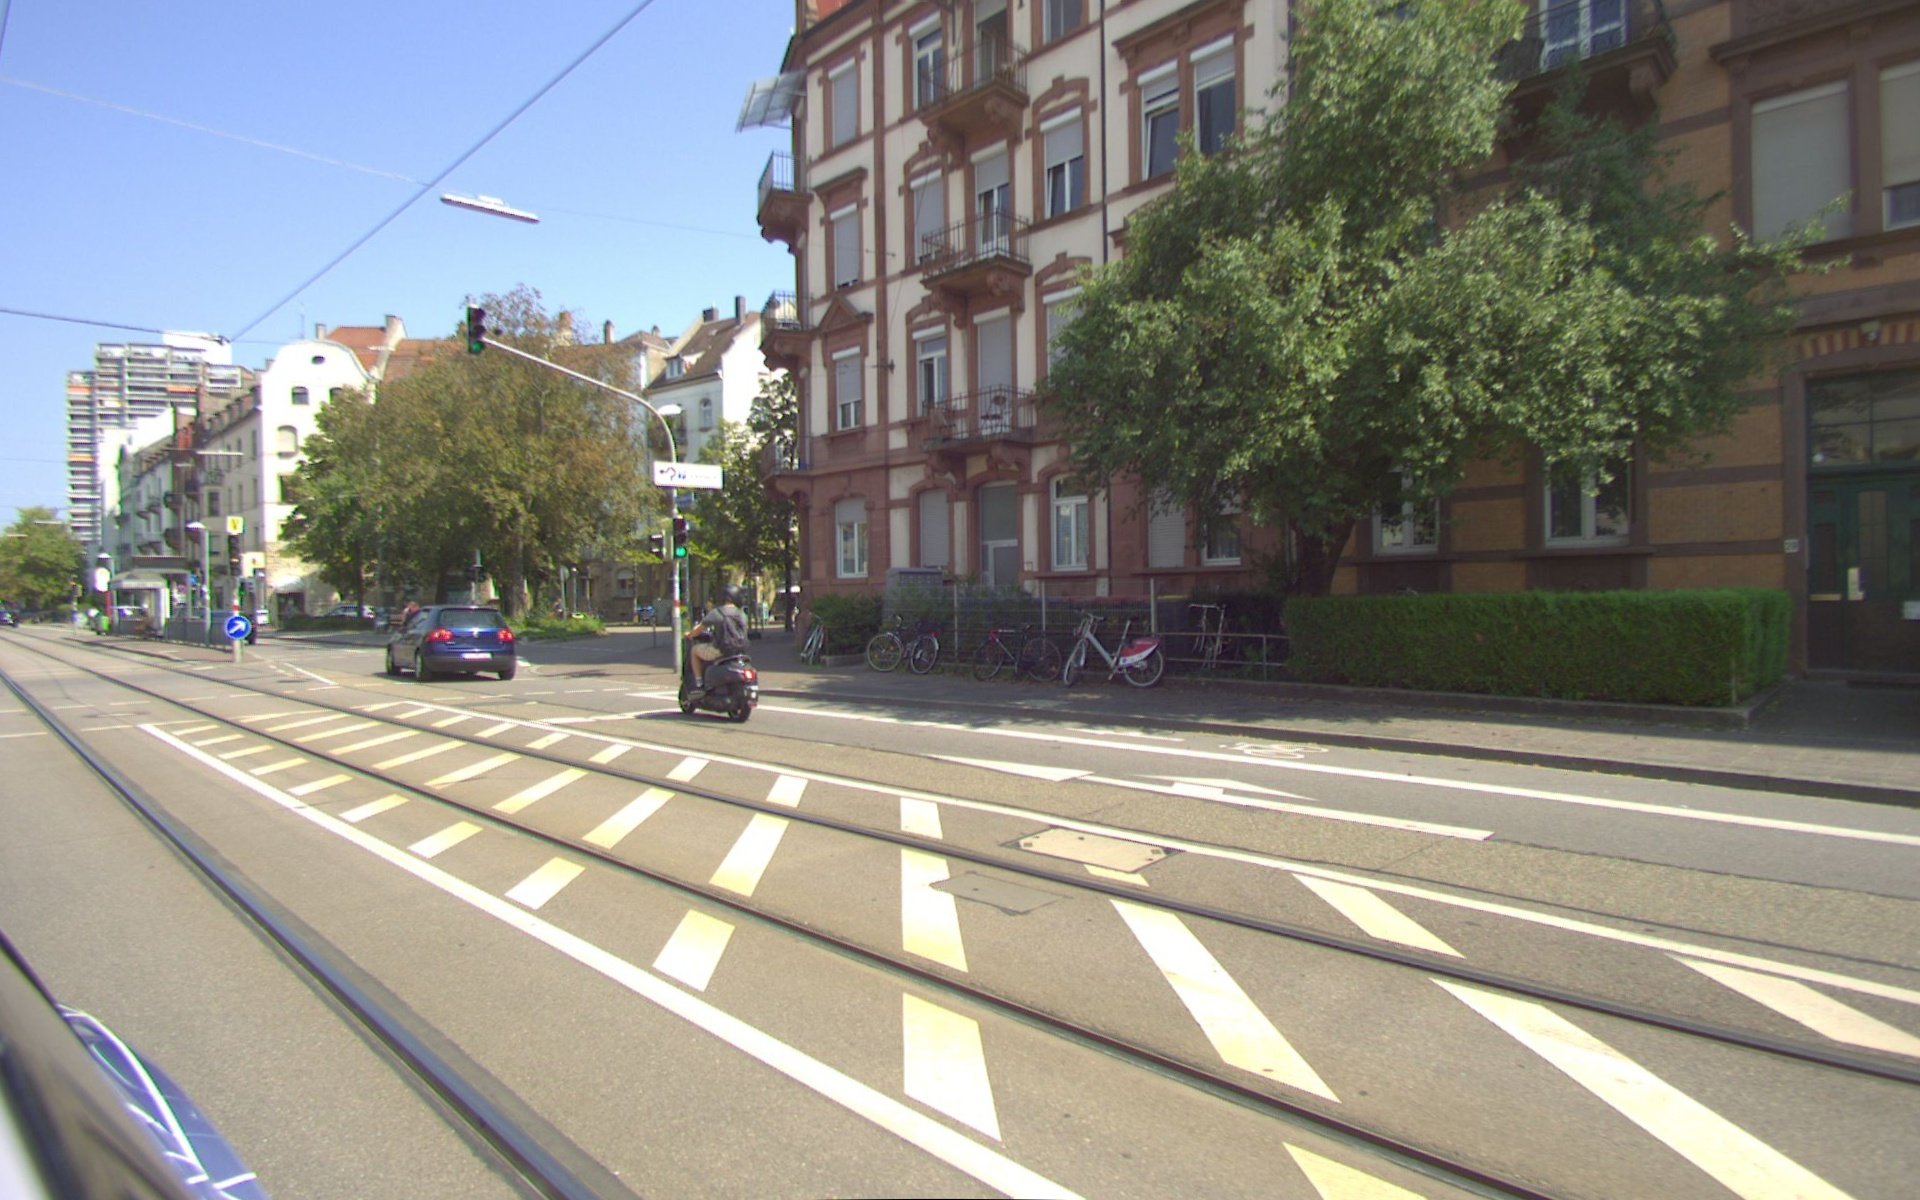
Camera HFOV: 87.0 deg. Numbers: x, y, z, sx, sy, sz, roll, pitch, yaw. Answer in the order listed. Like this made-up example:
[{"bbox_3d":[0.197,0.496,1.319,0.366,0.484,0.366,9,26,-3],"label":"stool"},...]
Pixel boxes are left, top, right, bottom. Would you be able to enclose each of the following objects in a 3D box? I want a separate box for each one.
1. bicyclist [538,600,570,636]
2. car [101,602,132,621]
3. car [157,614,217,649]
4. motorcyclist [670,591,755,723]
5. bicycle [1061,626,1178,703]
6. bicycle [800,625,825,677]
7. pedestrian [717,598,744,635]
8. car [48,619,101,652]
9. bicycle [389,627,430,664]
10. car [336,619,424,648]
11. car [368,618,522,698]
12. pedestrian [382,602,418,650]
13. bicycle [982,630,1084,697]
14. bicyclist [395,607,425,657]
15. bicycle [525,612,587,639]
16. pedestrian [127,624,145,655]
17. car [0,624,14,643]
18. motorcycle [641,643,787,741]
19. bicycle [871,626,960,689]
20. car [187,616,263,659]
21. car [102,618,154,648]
[{"bbox_3d":[-23.203,1.039,57.908,1.204,2.029,1.200,0,0,24],"label":"bicyclist"},{"bbox_3d":[-83.597,1.153,100.313,1.971,1.739,4.633,0,-1,-45],"label":"car"},{"bbox_3d":[-38.321,1.533,50.120,1.969,1.660,4.636,0,-1,-42],"label":"car"},{"bbox_3d":[-3.013,0.667,12.304,0.681,1.523,0.773,-1,0,-45],"label":"motorcyclist"},{"bbox_3d":[2.195,0.868,14.085,0.481,0.994,1.659,-1,0,-42],"label":"bicycle"},{"bbox_3d":[-3.082,1.038,21.108,0.481,1.005,1.833,-1,0,-8],"label":"bicycle"},{"bbox_3d":[-12.975,0.941,57.201,1.020,2.028,1.096,-3,1,-41],"label":"pedestrian"},{"bbox_3d":[-48.977,1.926,55.936,1.970,1.739,4.634,0,-1,-44],"label":"car"},{"bbox_3d":[-16.707,1.382,30.704,1.844,1.074,0.574,-2,-1,44],"label":"bicycle"},{"bbox_3d":[-37.485,2.158,65.518,4.563,1.739,2.001,-1,-1,-2],"label":"car"},{"bbox_3d":[-10.477,1.096,20.447,1.706,1.444,4.182,2,-2,-42],"label":"car"},{"bbox_3d":[-24.582,1.114,44.430,1.037,2.028,1.079,-1,1,44],"label":"pedestrian"},{"bbox_3d":[1.084,0.941,15.406,0.481,0.949,1.659,-1,0,-42],"label":"bicycle"},{"bbox_3d":[-16.687,0.957,30.681,0.776,1.481,0.574,-2,-1,44],"label":"bicyclist"},{"bbox_3d":[-23.114,1.453,57.877,3.465,1.447,1.212,-2,-1,25],"label":"bicycle"},{"bbox_3d":[-33.556,1.596,41.206,0.473,1.260,0.649,-1,-1,-45],"label":"pedestrian"},{"bbox_3d":[-88.730,3.080,93.382,1.971,1.739,4.633,0,-1,-45],"label":"car"},{"bbox_3d":[-3.036,1.078,12.336,0.683,1.039,2.158,-1,0,-45],"label":"motorcycle"},{"bbox_3d":[-0.796,0.970,17.612,0.481,1.029,1.780,-1,0,-42],"label":"bicycle"},{"bbox_3d":[-30.793,1.536,42.344,1.970,1.660,4.634,0,-1,-44],"label":"car"},{"bbox_3d":[-50.390,1.973,61.232,4.633,1.739,1.971,-2,-1,45],"label":"car"}]
